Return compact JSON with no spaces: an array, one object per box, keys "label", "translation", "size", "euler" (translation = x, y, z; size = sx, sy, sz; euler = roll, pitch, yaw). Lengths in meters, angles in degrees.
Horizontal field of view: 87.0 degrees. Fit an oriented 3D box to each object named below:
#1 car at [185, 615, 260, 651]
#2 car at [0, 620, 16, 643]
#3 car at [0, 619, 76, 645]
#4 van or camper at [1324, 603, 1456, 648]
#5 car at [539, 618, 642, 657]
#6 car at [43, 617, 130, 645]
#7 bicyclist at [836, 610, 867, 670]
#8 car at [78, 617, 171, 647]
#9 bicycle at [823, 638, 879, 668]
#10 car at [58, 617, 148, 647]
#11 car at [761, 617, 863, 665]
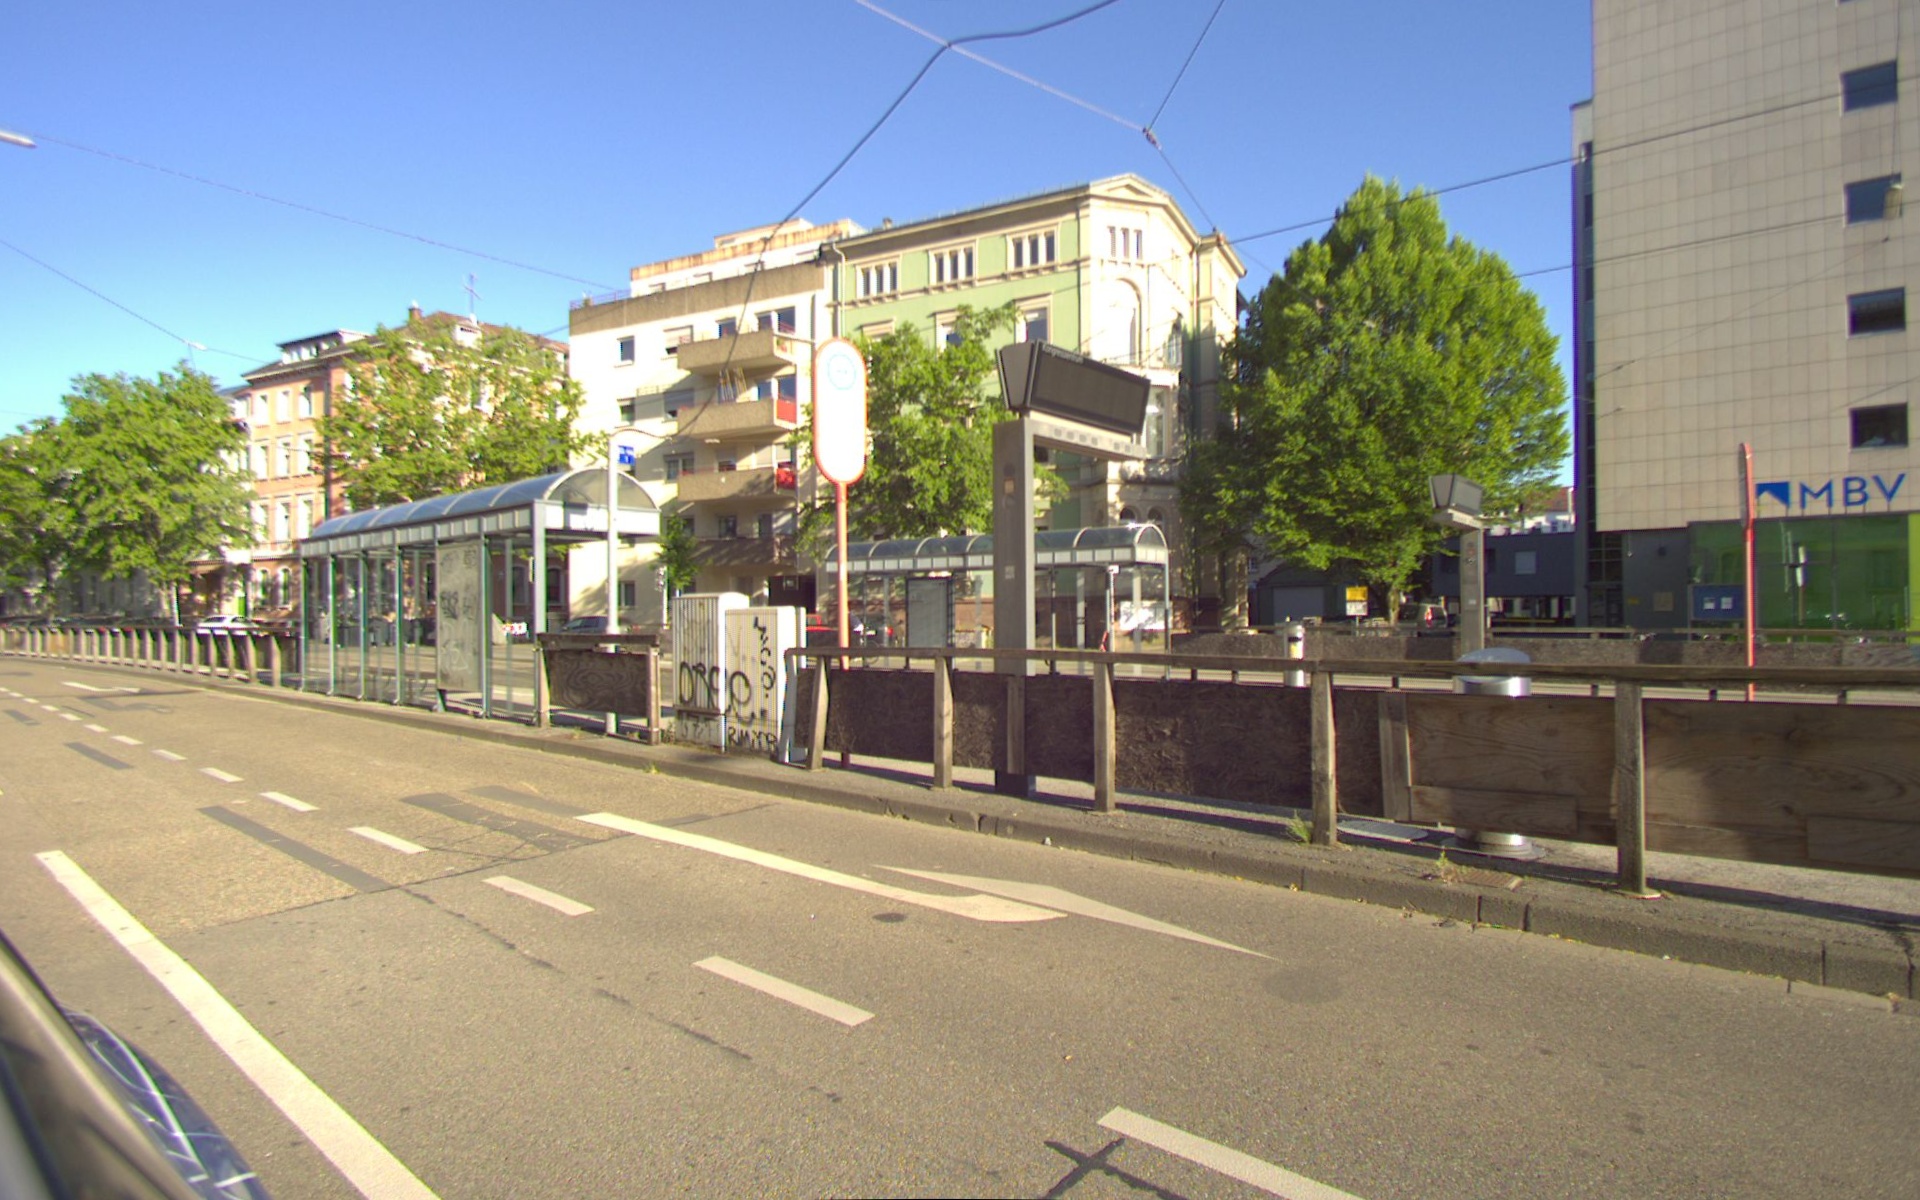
[{"label":"car","translation":[-39.527,1.749,54.380],"size":[1.966,1.736,4.012],"euler":[0,1,-15]},{"label":"car","translation":[-68.105,2.186,70.120],"size":[2.001,1.604,3.812],"euler":[-2,-2,44]},{"label":"car","translation":[-59.616,2.055,65.275],"size":[3.811,1.604,2.001],"euler":[1,-2,-45]},{"label":"van or camper","translation":[15.499,0.885,36.550],"size":[3.998,1.417,1.943],"euler":[2,0,41]},{"label":"car","translation":[-14.009,1.412,38.399],"size":[3.498,1.406,1.602],"euler":[-1,-2,22]},{"label":"car","translation":[-54.307,1.929,62.963],"size":[2.001,1.697,3.942],"euler":[-2,-2,44]},{"label":"bicyclist","translation":[-3.256,1.183,30.357],"size":[0.770,1.774,0.529],"euler":[1,0,41]},{"label":"car","translation":[-47.982,1.821,58.162],"size":[2.001,1.697,3.942],"euler":[-2,-2,44]},{"label":"bicycle","translation":[-3.280,1.565,30.364],"size":[1.852,0.793,0.529],"euler":[1,0,41]},{"label":"car","translation":[-51.299,1.884,60.635],"size":[2.001,1.697,3.942],"euler":[-2,-2,44]},{"label":"car","translation":[-5.008,1.364,34.694],"size":[1.763,1.547,3.763],"euler":[-1,-2,23]}]
